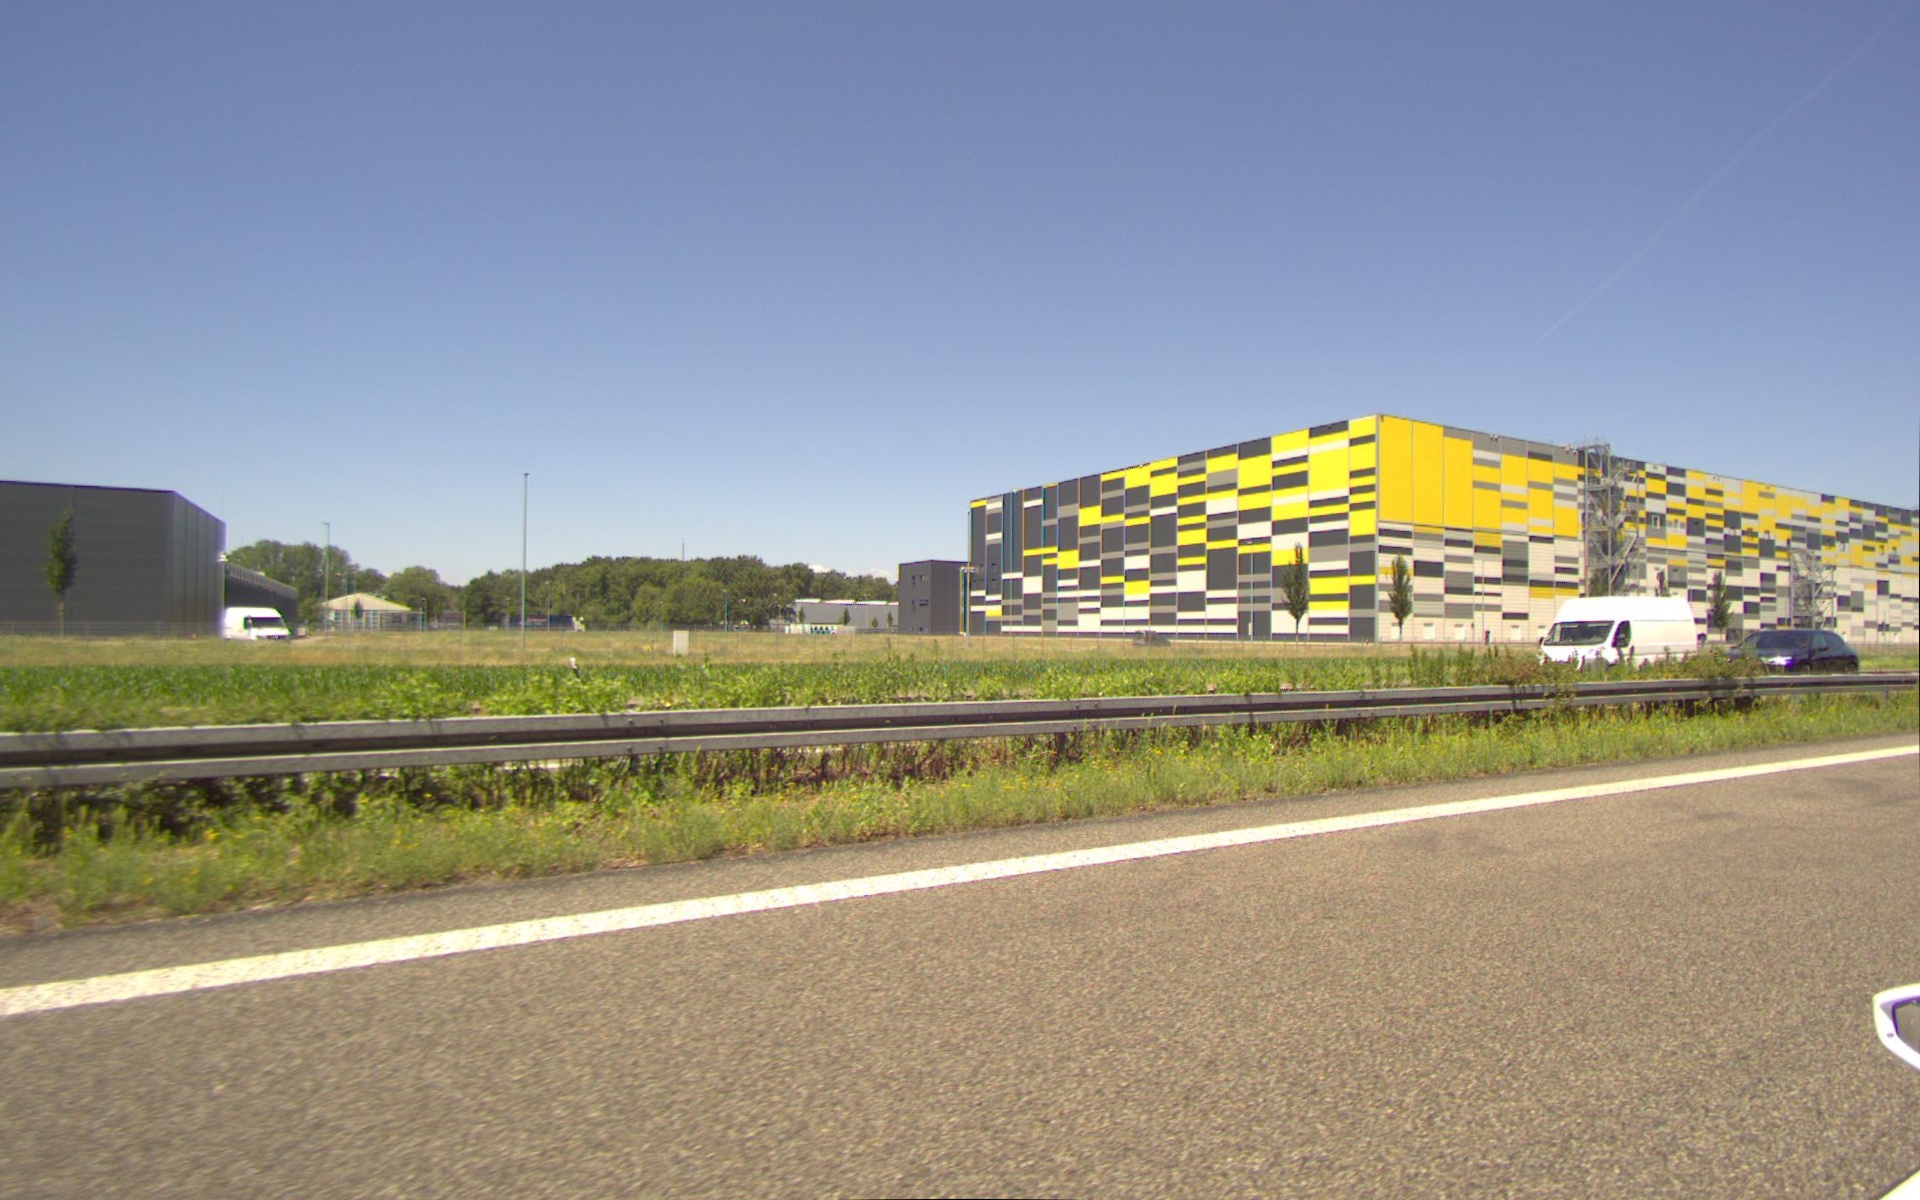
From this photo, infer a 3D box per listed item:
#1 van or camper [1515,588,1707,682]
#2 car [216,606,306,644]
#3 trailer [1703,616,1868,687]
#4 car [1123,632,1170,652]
[{"bbox_3d":[19.627,1.119,30.203,6.106,2.567,2.410,2,-4,-31],"label":"van or camper"},{"bbox_3d":[-42.062,1.540,60.425,5.506,2.206,2.106,-1,-2,28],"label":"car"},{"bbox_3d":[22.594,1.385,27.452,4.801,1.781,1.984,2,-2,-31],"label":"trailer"},{"bbox_3d":[16.838,3.794,90.583,4.066,1.750,1.675,2,-2,-32],"label":"car"}]
